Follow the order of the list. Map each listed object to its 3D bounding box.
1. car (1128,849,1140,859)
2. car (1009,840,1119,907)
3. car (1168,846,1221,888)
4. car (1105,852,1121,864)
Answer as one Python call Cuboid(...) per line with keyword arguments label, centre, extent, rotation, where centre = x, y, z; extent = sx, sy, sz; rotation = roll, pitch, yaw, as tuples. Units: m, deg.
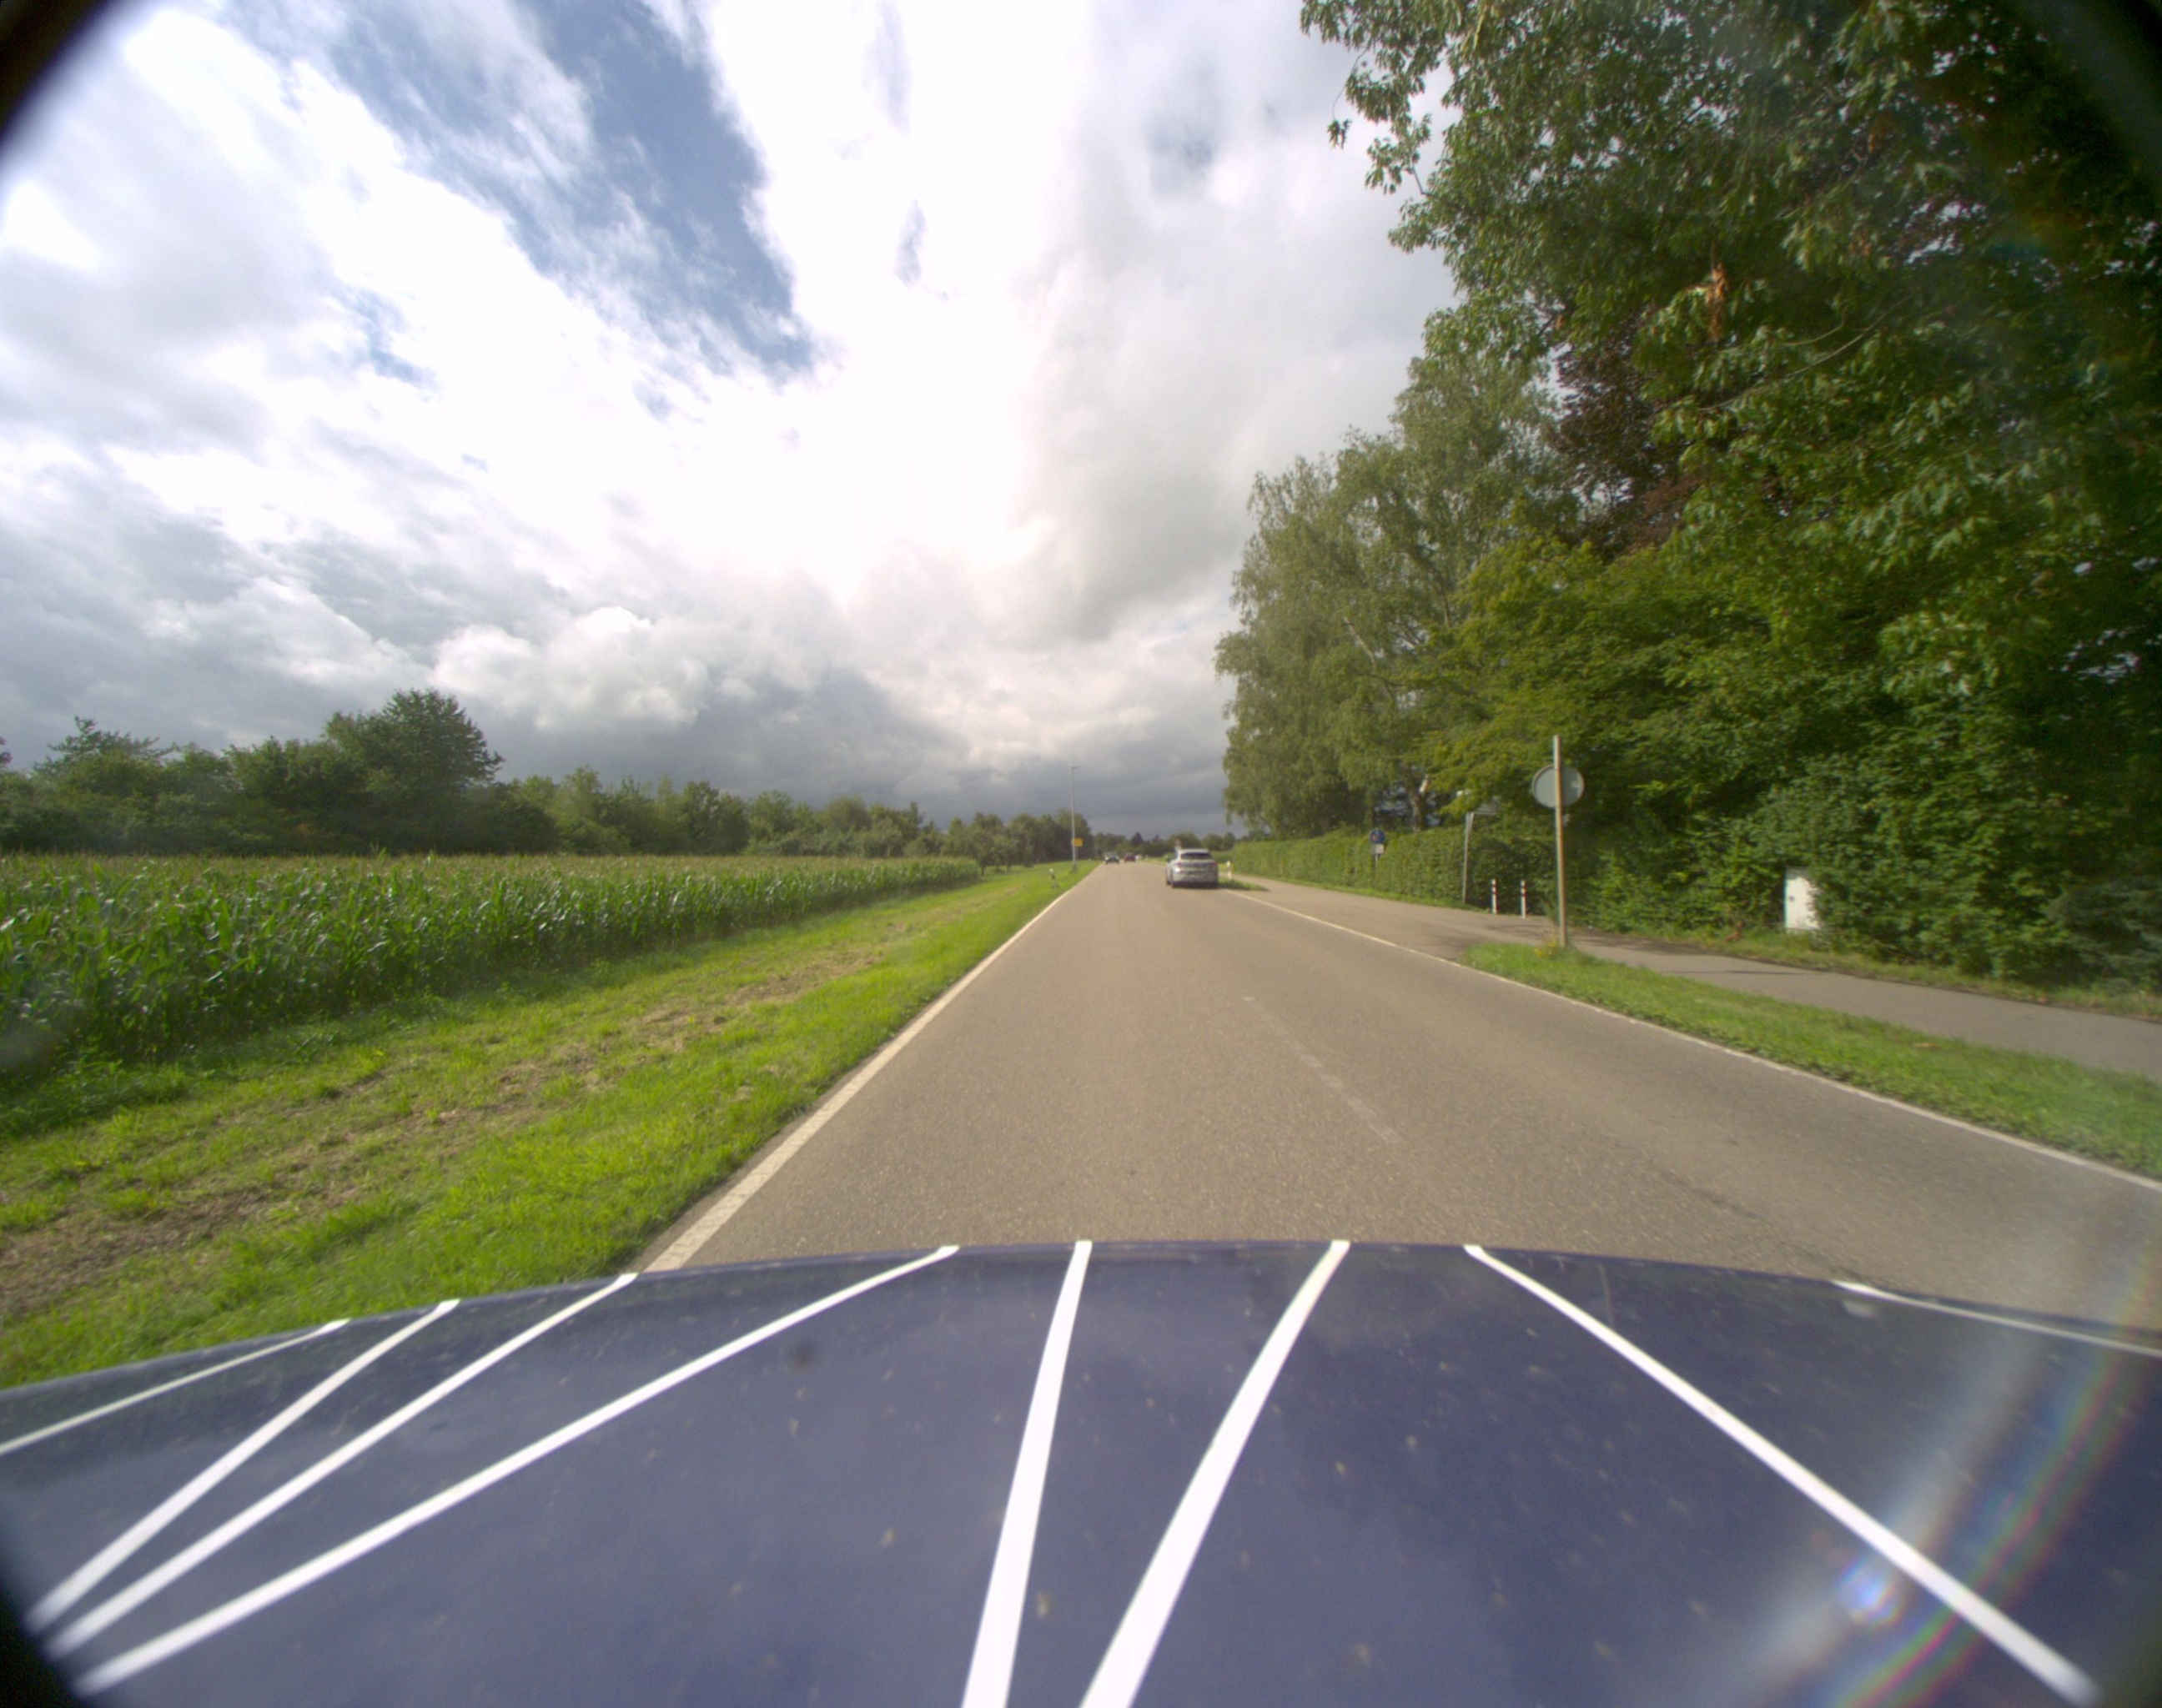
Cuboid(label="car", centre=(8.415, -0.027, 120.452), extent=(1.744, 1.462, 4.000), rotation=(0, 0, 2))
Cuboid(label="car", centre=(-0.675, 0.627, 26.173), extent=(2.003, 2.002, 3.991), rotation=(-4, 1, -30))
Cuboid(label="car", centre=(4.718, 0.497, 32.144), extent=(1.815, 1.641, 4.292), rotation=(0, 0, 3))
Cuboid(label="car", centre=(4.424, 0.548, 105.110), extent=(1.998, 1.594, 4.000), rotation=(-3, 0, 3))
